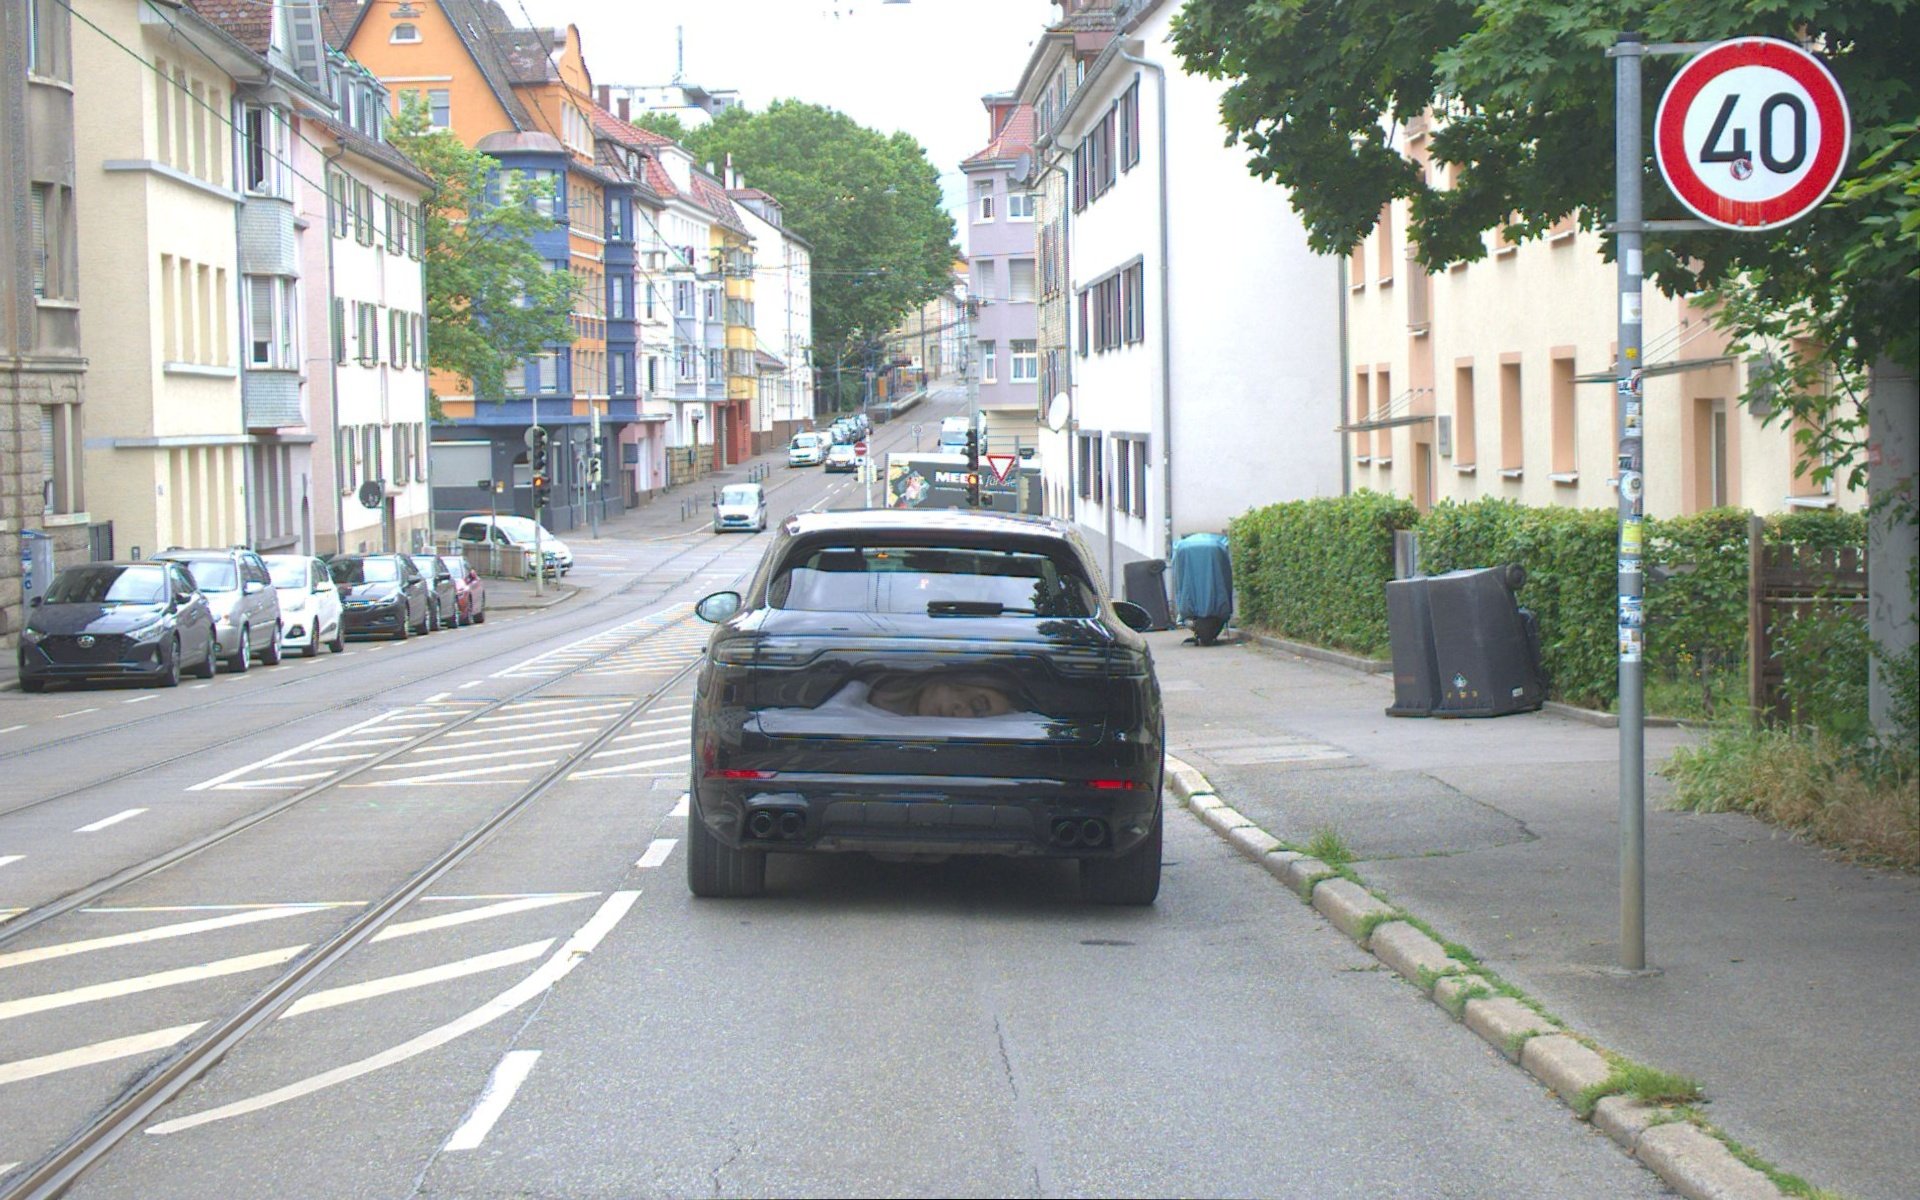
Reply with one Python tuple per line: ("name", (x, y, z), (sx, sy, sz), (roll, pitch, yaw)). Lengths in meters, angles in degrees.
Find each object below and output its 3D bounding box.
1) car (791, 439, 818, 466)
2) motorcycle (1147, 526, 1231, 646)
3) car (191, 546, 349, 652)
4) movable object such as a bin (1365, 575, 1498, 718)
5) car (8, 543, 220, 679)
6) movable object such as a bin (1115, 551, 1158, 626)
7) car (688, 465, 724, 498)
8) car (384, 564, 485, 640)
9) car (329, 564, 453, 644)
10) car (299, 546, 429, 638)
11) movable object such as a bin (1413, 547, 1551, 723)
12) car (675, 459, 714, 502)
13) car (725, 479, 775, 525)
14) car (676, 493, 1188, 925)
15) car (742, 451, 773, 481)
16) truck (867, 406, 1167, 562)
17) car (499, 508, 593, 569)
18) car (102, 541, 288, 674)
("car", (-8.812, -8.352, 195.012), (1.394, 1.445, 3.359), (-1, 1, -1))
("motorcycle", (2.865, -0.192, 43.229), (0.838, 1.451, 2.553), (-1, 1, -1))
("car", (-10.137, -0.026, 50.739), (1.620, 1.458, 3.685), (-2, 0, -1))
("movable object such as a bin", (3.440, 0.332, 25.133), (0.792, 1.008, 0.789), (-1, 1, -5))
("car", (-9.805, 0.114, 40.108), (1.620, 1.458, 4.033), (-2, 0, -3))
("movable object such as a bin", (2.567, -0.169, 50.063), (0.588, 1.076, 0.692), (-1, 1, 1))
("car", (-11.586, -5.401, 157.031), (1.394, 1.445, 3.359), (-1, 1, -1))
("car", (-10.819, 0.025, 71.012), (1.620, 1.485, 4.048), (-2, 0, -3))
("car", (-10.654, 0.052, 64.581), (1.736, 1.405, 4.000), (-1, 1, -1))
("car", (-10.202, -0.147, 59.123), (1.620, 1.468, 4.556), (-2, 0, -3))
("movable object such as a bin", (3.689, 0.239, 24.340), (0.792, 1.214, 0.789), (-1, 1, -5))
("car", (-11.118, -5.012, 144.285), (1.394, 1.716, 3.359), (-1, 1, -1))
("car", (-8.250, -3.834, 135.267), (1.751, 1.753, 4.254), (-1, 1, -1))
("car", (-0.171, 0.395, 15.534), (1.993, 1.670, 4.000), (-1, 1, -2))
("car", (-10.426, -6.878, 177.213), (1.394, 1.445, 3.359), (-1, 1, -1))
("truck", (1.604, -3.275, 99.249), (8.578, 4.167, 2.256), (-1, -1, 29))
("car", (-12.749, -1.887, 105.763), (1.920, 1.812, 4.218), (-1, 1, -20))
("car", (-9.937, 0.078, 44.936), (1.620, 1.599, 4.351), (-2, 0, -3))
